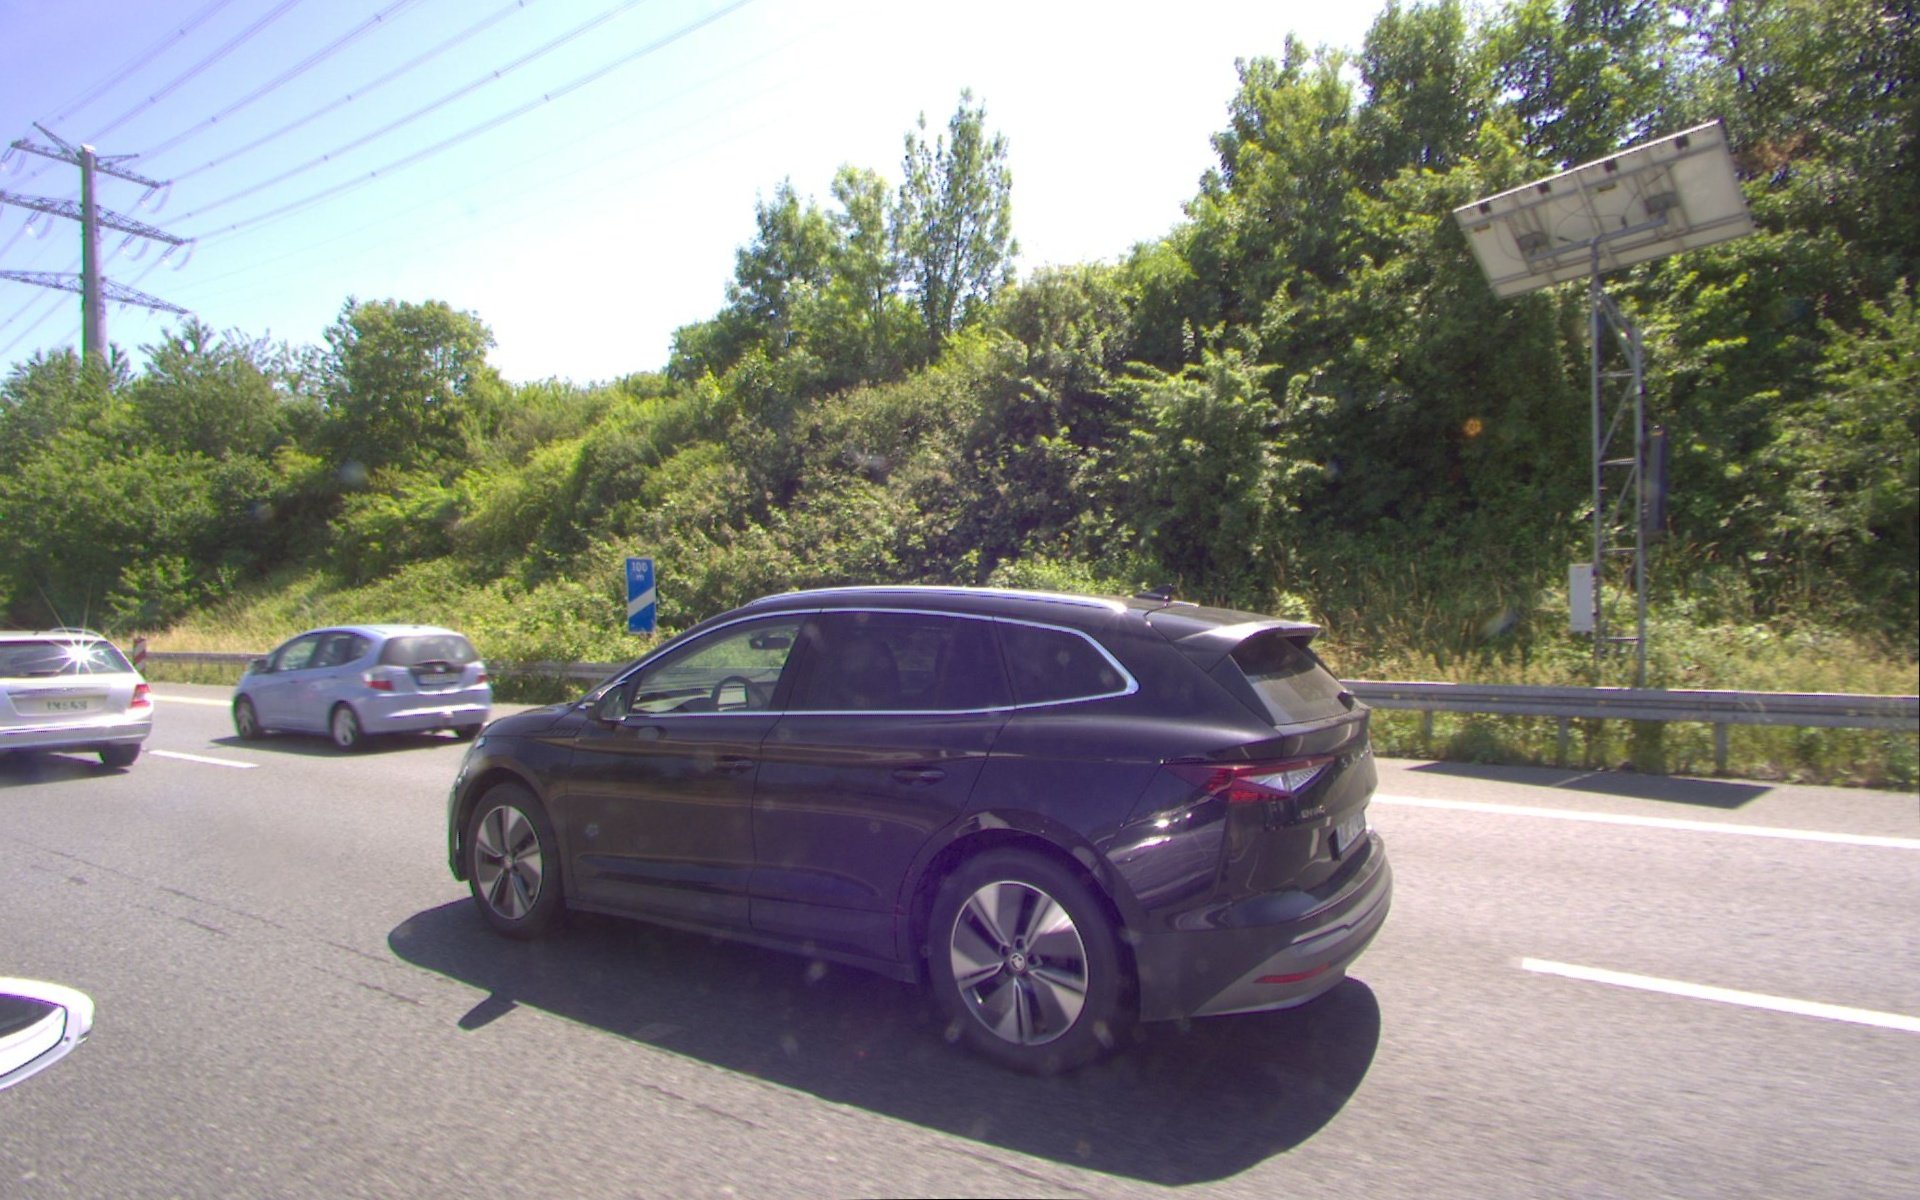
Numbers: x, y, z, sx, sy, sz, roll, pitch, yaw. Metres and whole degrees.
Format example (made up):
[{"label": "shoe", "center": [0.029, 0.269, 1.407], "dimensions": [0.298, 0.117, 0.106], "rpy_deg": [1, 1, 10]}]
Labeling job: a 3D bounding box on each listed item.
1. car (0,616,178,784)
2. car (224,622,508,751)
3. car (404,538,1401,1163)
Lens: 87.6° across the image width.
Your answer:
[{"label": "car", "center": [-10.359, 0.967, 10.710], "dimensions": [4.297, 1.537, 1.768], "rpy_deg": [-1, -2, 32]}, {"label": "car", "center": [-7.808, 1.046, 13.091], "dimensions": [3.734, 1.466, 1.698], "rpy_deg": [-1, -2, 32]}, {"label": "car", "center": [-0.465, 0.737, 4.569], "dimensions": [4.365, 1.676, 1.698], "rpy_deg": [-1, -2, 31]}]
